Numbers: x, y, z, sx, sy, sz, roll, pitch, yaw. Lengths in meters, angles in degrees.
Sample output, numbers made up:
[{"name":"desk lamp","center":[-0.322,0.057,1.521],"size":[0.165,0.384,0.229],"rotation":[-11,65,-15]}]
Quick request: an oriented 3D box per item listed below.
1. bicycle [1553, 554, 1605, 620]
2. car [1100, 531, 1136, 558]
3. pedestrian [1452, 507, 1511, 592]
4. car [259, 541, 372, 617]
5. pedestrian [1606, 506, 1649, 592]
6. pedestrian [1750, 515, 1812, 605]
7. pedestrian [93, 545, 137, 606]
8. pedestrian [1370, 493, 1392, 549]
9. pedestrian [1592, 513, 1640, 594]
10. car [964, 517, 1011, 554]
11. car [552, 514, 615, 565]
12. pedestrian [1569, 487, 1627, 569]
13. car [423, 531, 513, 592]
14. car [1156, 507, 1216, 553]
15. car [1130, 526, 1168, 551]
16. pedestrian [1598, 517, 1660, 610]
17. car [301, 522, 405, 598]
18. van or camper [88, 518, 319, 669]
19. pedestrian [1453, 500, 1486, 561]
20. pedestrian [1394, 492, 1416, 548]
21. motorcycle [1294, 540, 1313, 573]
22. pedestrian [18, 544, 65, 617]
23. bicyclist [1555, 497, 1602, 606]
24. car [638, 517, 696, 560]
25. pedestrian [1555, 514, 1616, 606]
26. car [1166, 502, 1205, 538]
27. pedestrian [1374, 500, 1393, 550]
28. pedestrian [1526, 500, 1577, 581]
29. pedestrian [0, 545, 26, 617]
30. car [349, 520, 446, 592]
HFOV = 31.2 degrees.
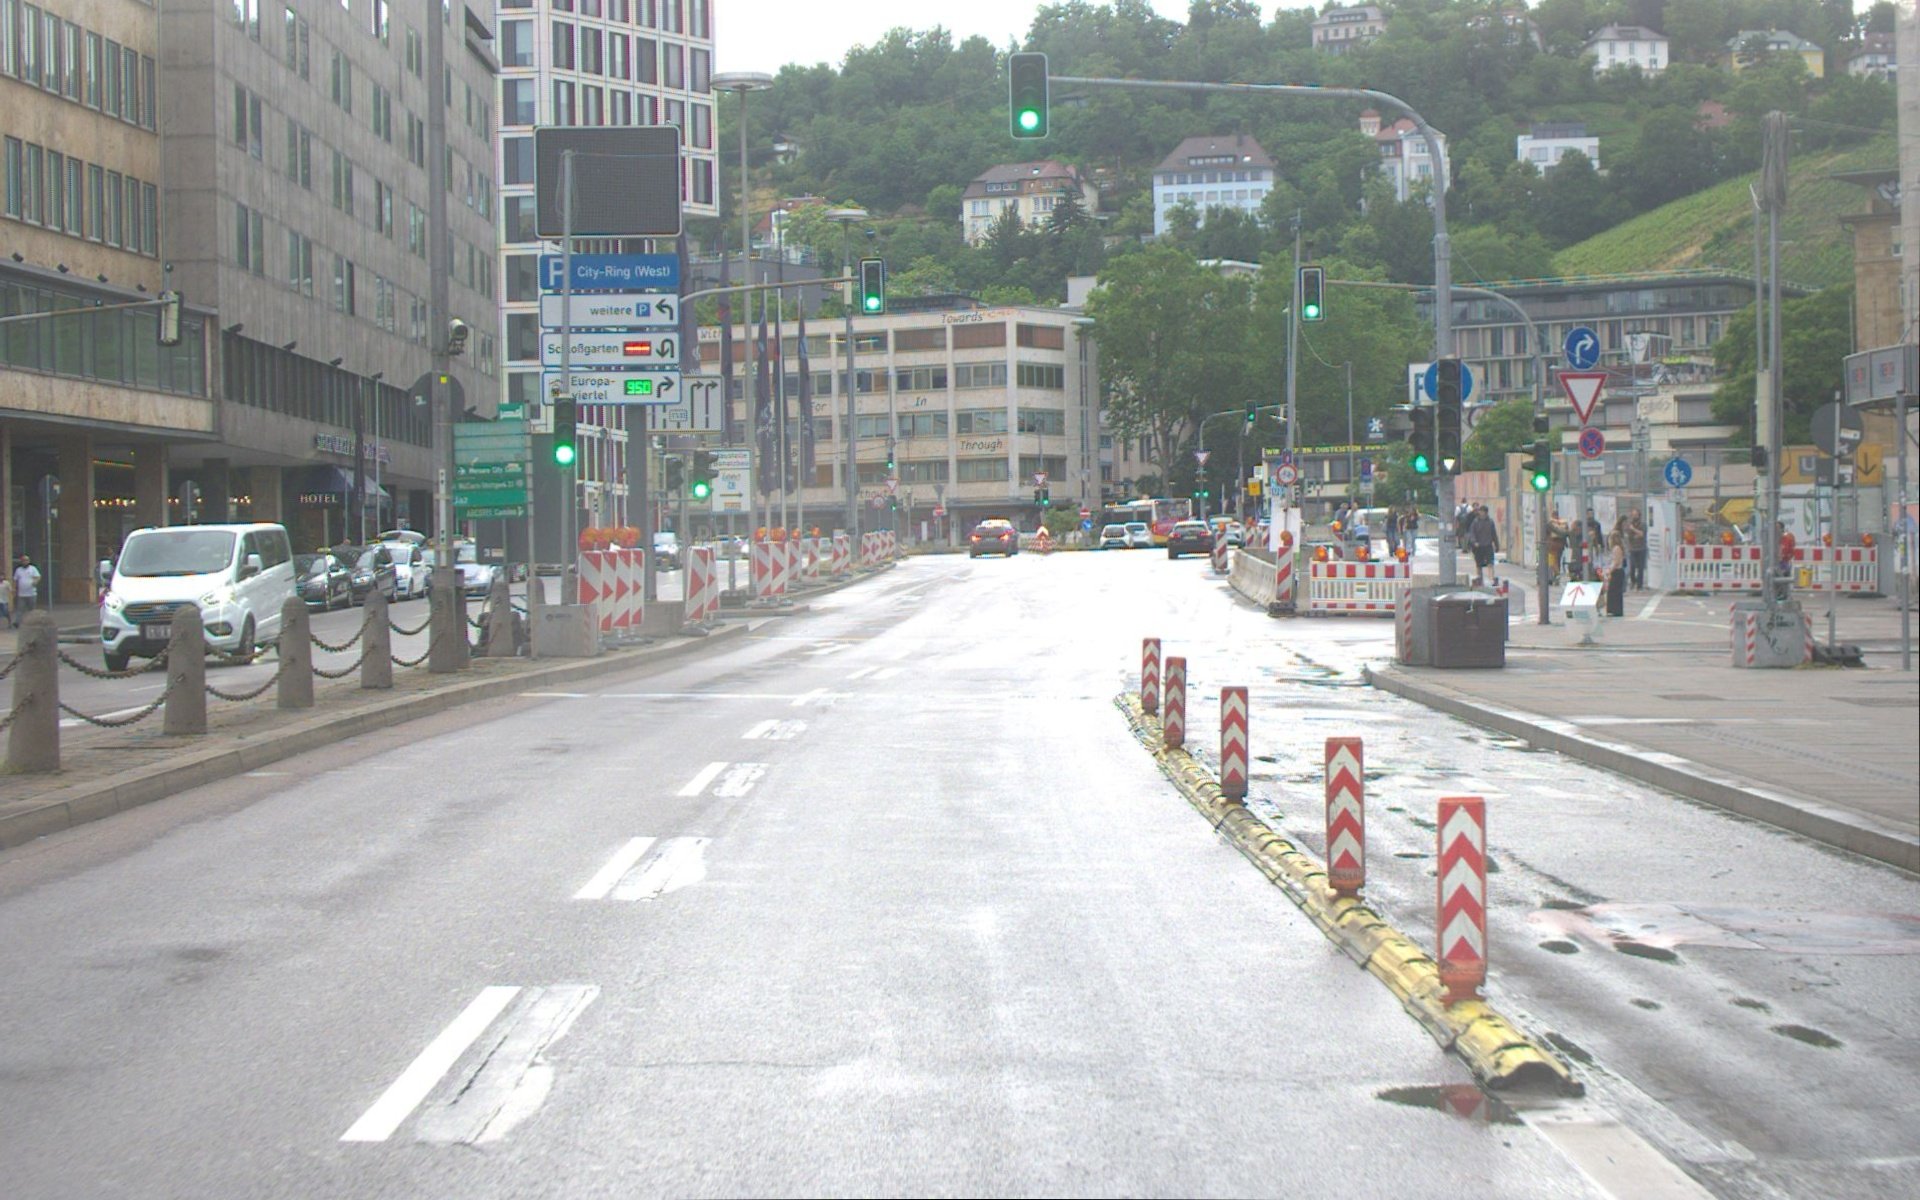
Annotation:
[{"name":"bicycle","center":[10.476,-0.229,58.209],"size":[0.707,1.046,1.806],"rotation":[0,2,6]},{"name":"car","center":[8.786,-3.085,191.031],"size":[1.819,1.437,4.000],"rotation":[1,2,0]},{"name":"pedestrian","center":[11.534,-1.120,76.049],"size":[0.948,1.835,0.945],"rotation":[-1,1,32]},{"name":"car","center":[-16.576,-0.570,88.539],"size":[1.993,1.831,4.000],"rotation":[-2,1,2]},{"name":"pedestrian","center":[14.360,-1.099,74.001],"size":[0.865,1.835,0.797],"rotation":[-1,1,11]},{"name":"pedestrian","center":[14.911,-0.721,62.440],"size":[0.767,1.602,0.863],"rotation":[-2,1,-13]},{"name":"pedestrian","center":[-21.238,-0.616,86.421],"size":[0.795,1.521,0.916],"rotation":[-1,1,3]},{"name":"pedestrian","center":[13.941,-2.623,113.891],"size":[0.688,1.835,0.614],"rotation":[-1,1,6]},{"name":"pedestrian","center":[13.640,-0.959,71.497],"size":[0.865,1.655,0.797],"rotation":[-1,1,4]},{"name":"car","center":[1.186,-2.827,150.709],"size":[1.993,1.546,4.000],"rotation":[-1,1,0]},{"name":"car","center":[-15.805,-2.565,144.511],"size":[1.993,2.006,4.000],"rotation":[-2,2,2]},{"name":"pedestrian","center":[14.454,-1.624,77.888],"size":[0.867,1.835,0.947],"rotation":[-1,1,44]},{"name":"car","center":[-13.558,-1.073,94.991],"size":[1.768,1.603,4.226],"rotation":[-1,1,1]},{"name":"car","center":[8.562,-2.655,130.657],"size":[1.993,1.700,4.000],"rotation":[-1,1,0]},{"name":"car","center":[11.247,-3.675,204.795],"size":[1.993,1.437,4.000],"rotation":[1,2,0]},{"name":"pedestrian","center":[11.718,-0.639,60.218],"size":[0.796,1.602,0.834],"rotation":[-1,1,30]},{"name":"car","center":[-16.706,-1.120,94.730],"size":[1.993,2.007,4.000],"rotation":[-1,1,2]},{"name":"van or camper","center":[-10.687,-0.134,48.962],"size":[1.993,2.007,5.189],"rotation":[-1,1,2]},{"name":"pedestrian","center":[15.533,-2.108,104.849],"size":[0.946,1.835,0.867],"rotation":[-1,1,8]},{"name":"pedestrian","center":[14.740,-2.638,113.833],"size":[0.688,1.835,0.614],"rotation":[-1,1,6]},{"name":"motorcycle","center":[7.719,-0.977,77.334],"size":[0.371,0.719,0.922],"rotation":[1,2,3]},{"name":"pedestrian","center":[-19.893,-0.418,74.466],"size":[0.721,1.552,0.895],"rotation":[-1,1,3]},{"name":"bicyclist","center":[10.464,-0.824,58.167],"size":[0.703,1.838,0.968],"rotation":[0,1,6]},{"name":"car","center":[-12.414,-2.623,145.885],"size":[1.993,1.744,4.000],"rotation":[-1,1,2]},{"name":"pedestrian","center":[11.042,-0.708,60.687],"size":[0.796,1.602,0.834],"rotation":[-1,1,30]},{"name":"car","center":[11.125,-3.926,169.677],"size":[1.776,1.634,4.000],"rotation":[-2,0,2]},{"name":"pedestrian","center":[15.806,-2.810,128.333],"size":[0.688,1.835,0.614],"rotation":[-1,1,6]},{"name":"pedestrian","center":[13.567,-1.366,78.886],"size":[0.946,1.835,0.867],"rotation":[-1,1,-2]},{"name":"pedestrian","center":[-20.742,-0.408,74.432],"size":[0.721,1.552,0.905],"rotation":[-1,1,3]},{"name":"car","center":[-16.423,-1.311,100.527],"size":[1.993,2.007,4.164],"rotation":[-1,1,2]}]
